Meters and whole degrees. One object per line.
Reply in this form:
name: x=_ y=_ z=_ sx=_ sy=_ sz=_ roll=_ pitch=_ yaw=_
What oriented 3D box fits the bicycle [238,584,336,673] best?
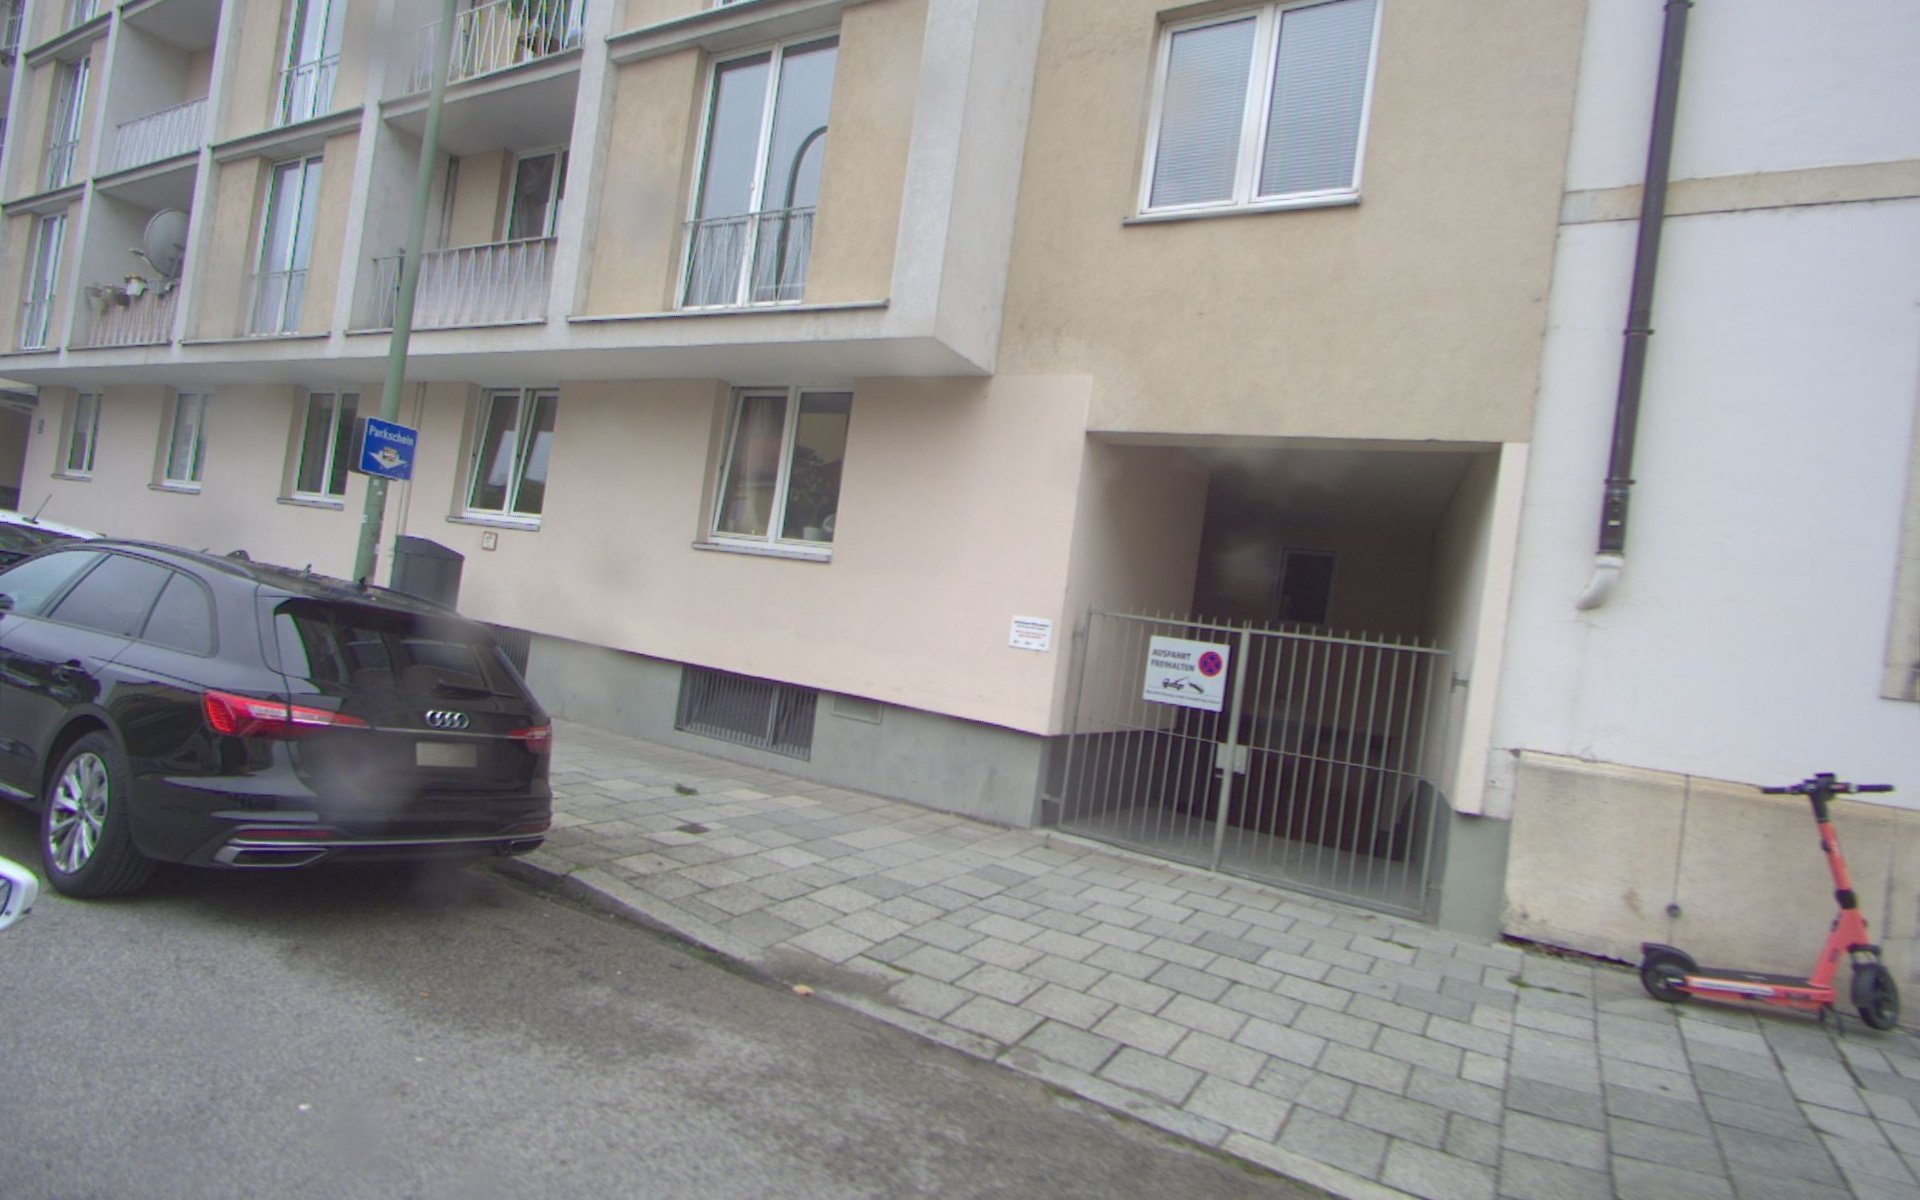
bicycle: x=-8.342 y=0.348 z=12.455 sx=1.369 sy=0.915 sz=0.378 roll=7 pitch=-1 yaw=32

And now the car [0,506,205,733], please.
car: x=-8.320 y=-0.078 z=8.128 sx=4.501 sy=1.504 sz=1.700 roll=7 pitch=-4 yaw=29

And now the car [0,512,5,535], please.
car: x=-12.504 y=-0.551 z=10.732 sx=5.077 sy=1.537 sz=1.887 roll=7 pitch=-5 yaw=31

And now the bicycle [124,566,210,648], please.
bicycle: x=-10.598 y=0.085 z=13.435 sx=1.369 sy=0.916 sz=0.378 roll=7 pitch=0 yaw=32

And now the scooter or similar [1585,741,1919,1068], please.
scooter or similar: x=4.248 y=1.531 z=5.211 sx=1.560 sy=1.374 sz=0.441 roll=5 pitch=-2 yaw=20

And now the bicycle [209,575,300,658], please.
bicycle: x=-9.389 y=0.209 z=13.375 sx=1.369 sy=0.915 sz=0.378 roll=7 pitch=-1 yaw=32

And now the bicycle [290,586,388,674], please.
bicycle: x=-7.807 y=0.369 z=12.638 sx=1.369 sy=0.915 sz=0.378 roll=7 pitch=-1 yaw=32

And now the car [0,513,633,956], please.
car: x=-4.274 y=0.395 z=5.470 sx=4.868 sy=1.403 sz=1.751 roll=7 pitch=-4 yaw=29
